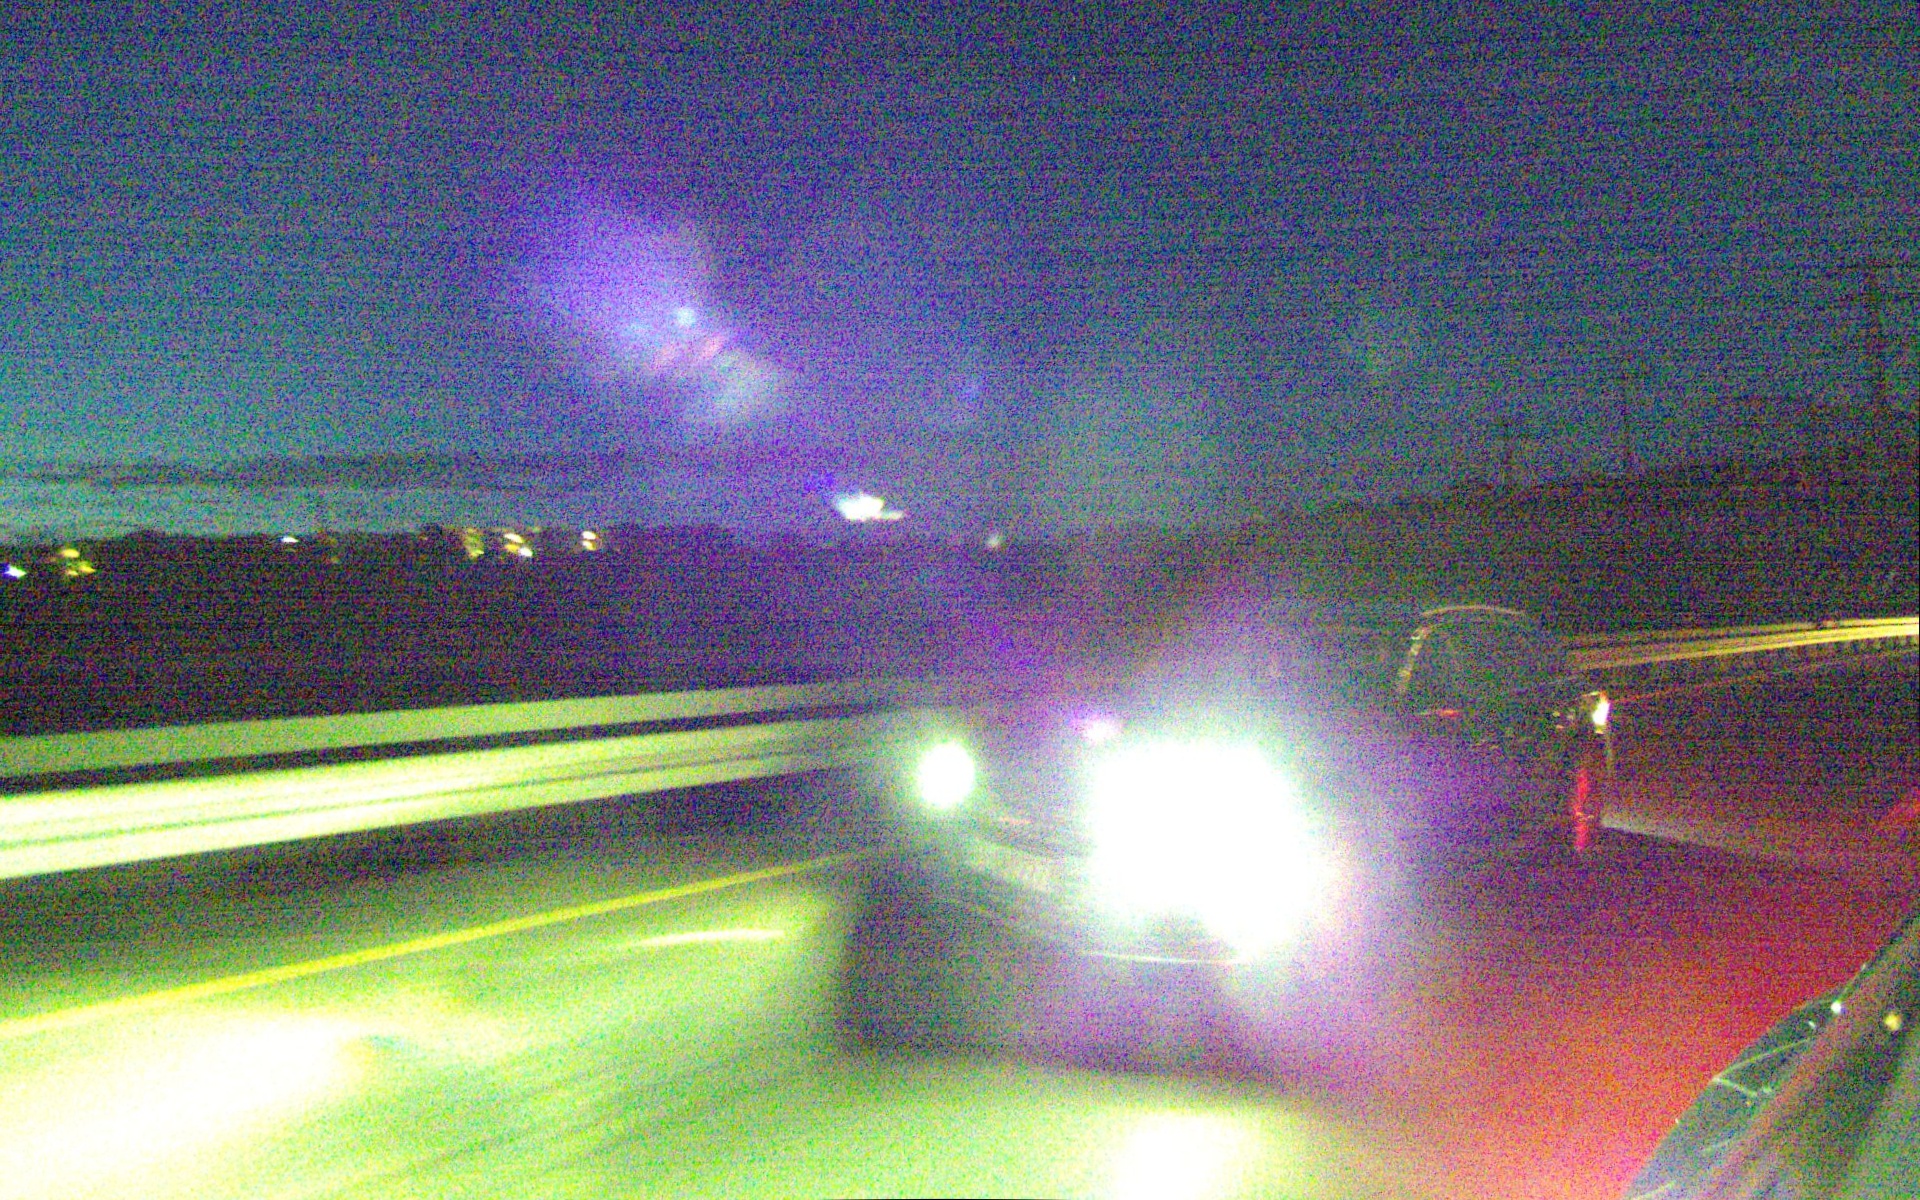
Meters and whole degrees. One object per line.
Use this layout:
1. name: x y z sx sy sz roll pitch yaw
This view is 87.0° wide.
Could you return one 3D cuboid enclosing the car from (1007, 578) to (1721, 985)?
1. car: 2.659 0.661 5.928 4.788 1.444 1.812 0 2 -40
